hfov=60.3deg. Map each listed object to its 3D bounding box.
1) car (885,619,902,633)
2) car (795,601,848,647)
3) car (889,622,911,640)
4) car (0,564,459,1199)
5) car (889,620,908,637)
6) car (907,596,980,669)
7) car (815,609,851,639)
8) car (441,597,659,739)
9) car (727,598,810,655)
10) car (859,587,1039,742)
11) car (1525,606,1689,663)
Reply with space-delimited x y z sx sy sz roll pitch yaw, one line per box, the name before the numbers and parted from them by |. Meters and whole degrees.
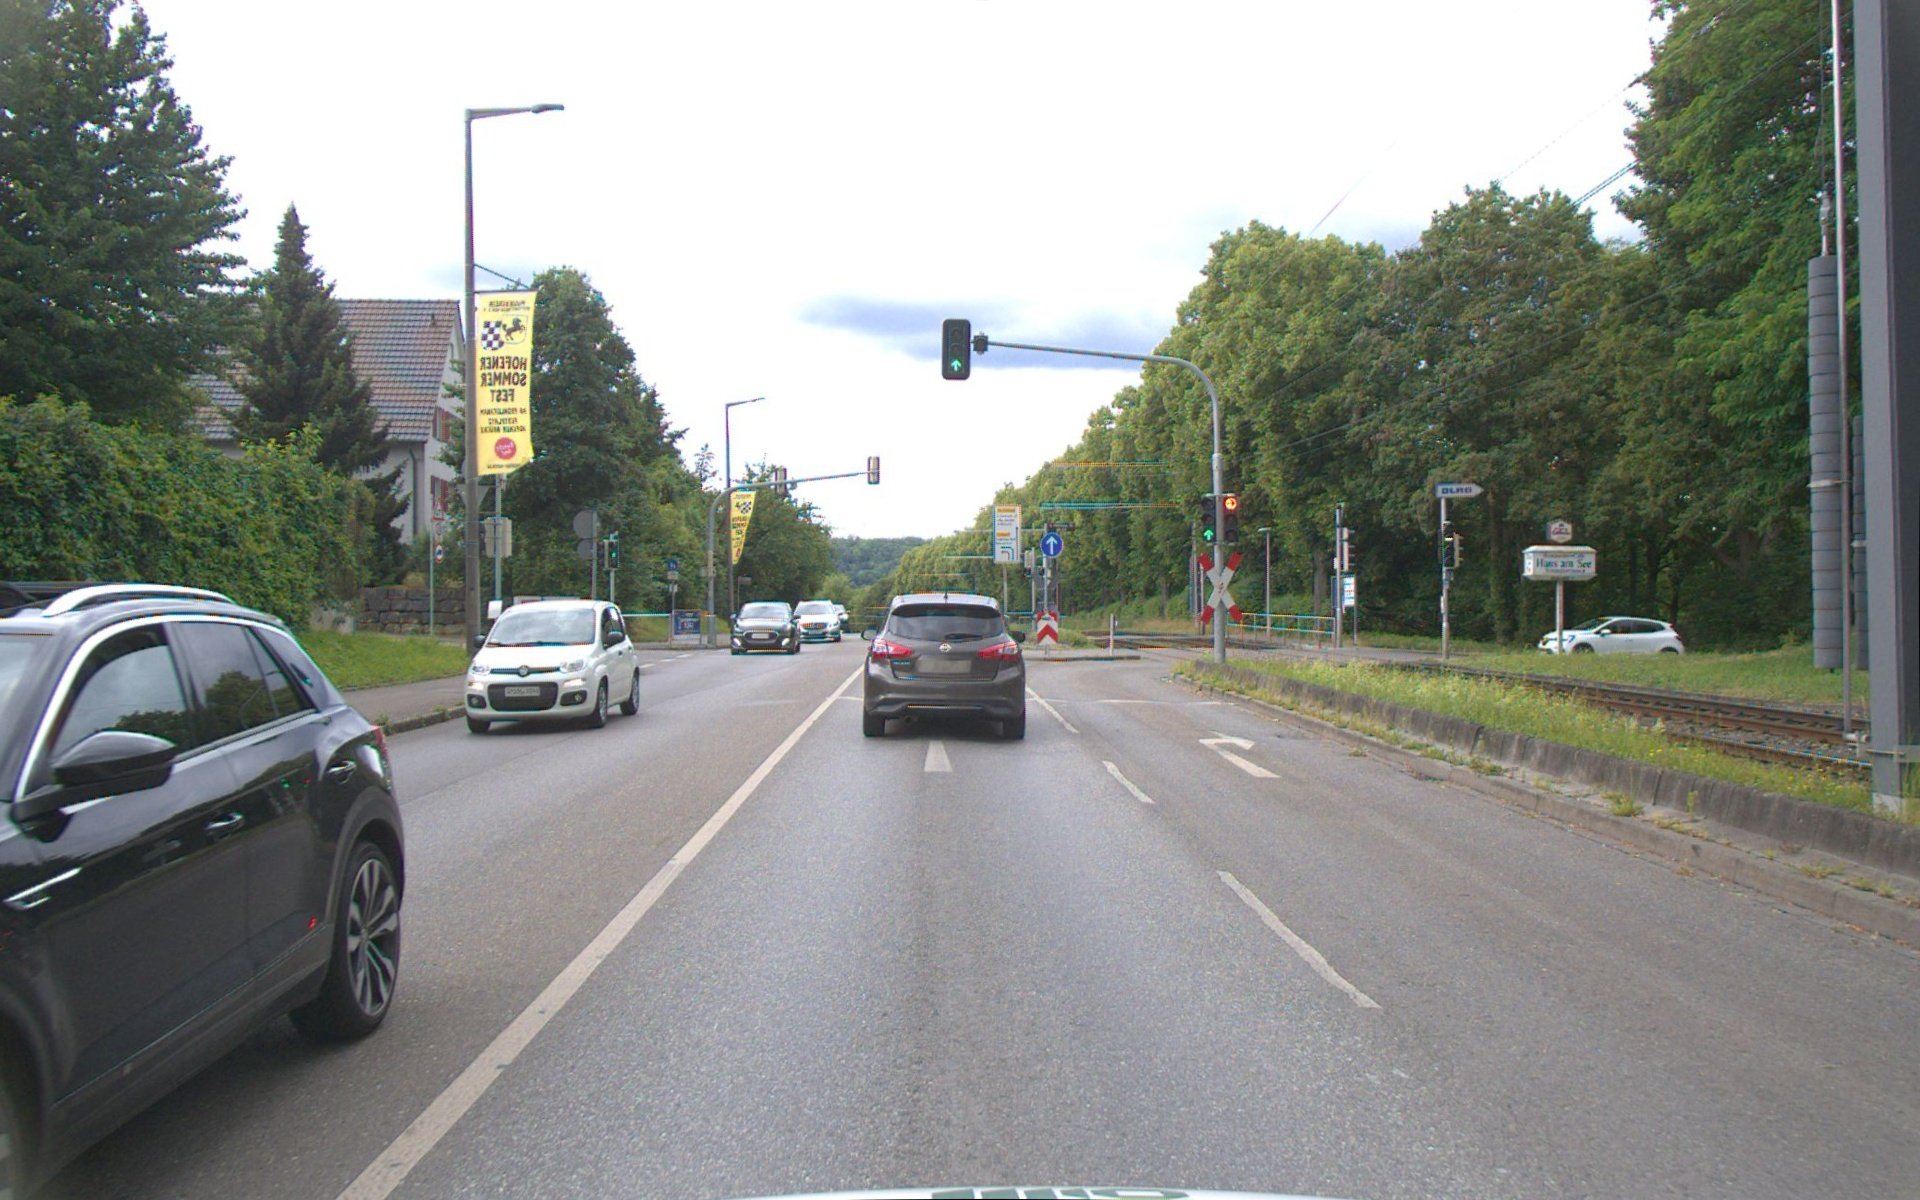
car | -6.843 2.693 170.863 1.707 1.333 3.998 2 0 -3
car | -5.111 0.869 61.526 1.782 1.594 5.202 1 0 -3
car | -4.885 2.506 133.678 1.707 1.333 3.998 2 0 -3
car | -2.802 0.731 4.314 1.776 1.550 4.176 -2 0 -2
car | -5.609 2.578 150.567 1.707 1.333 3.998 2 0 -3
car | -0.358 0.674 36.249 1.507 1.504 3.763 0 0 -1
car | -7.139 1.379 93.534 1.863 1.601 4.479 1 -1 -3
car | -5.108 0.772 21.245 1.776 1.550 4.698 -2 0 -3
car | -5.311 0.709 46.437 1.776 1.396 4.160 4 0 0
car | -0.137 0.644 19.097 1.798 1.545 4.482 1 0 -1
car | 18.750 0.982 48.047 3.911 1.377 1.997 4 0 -7
